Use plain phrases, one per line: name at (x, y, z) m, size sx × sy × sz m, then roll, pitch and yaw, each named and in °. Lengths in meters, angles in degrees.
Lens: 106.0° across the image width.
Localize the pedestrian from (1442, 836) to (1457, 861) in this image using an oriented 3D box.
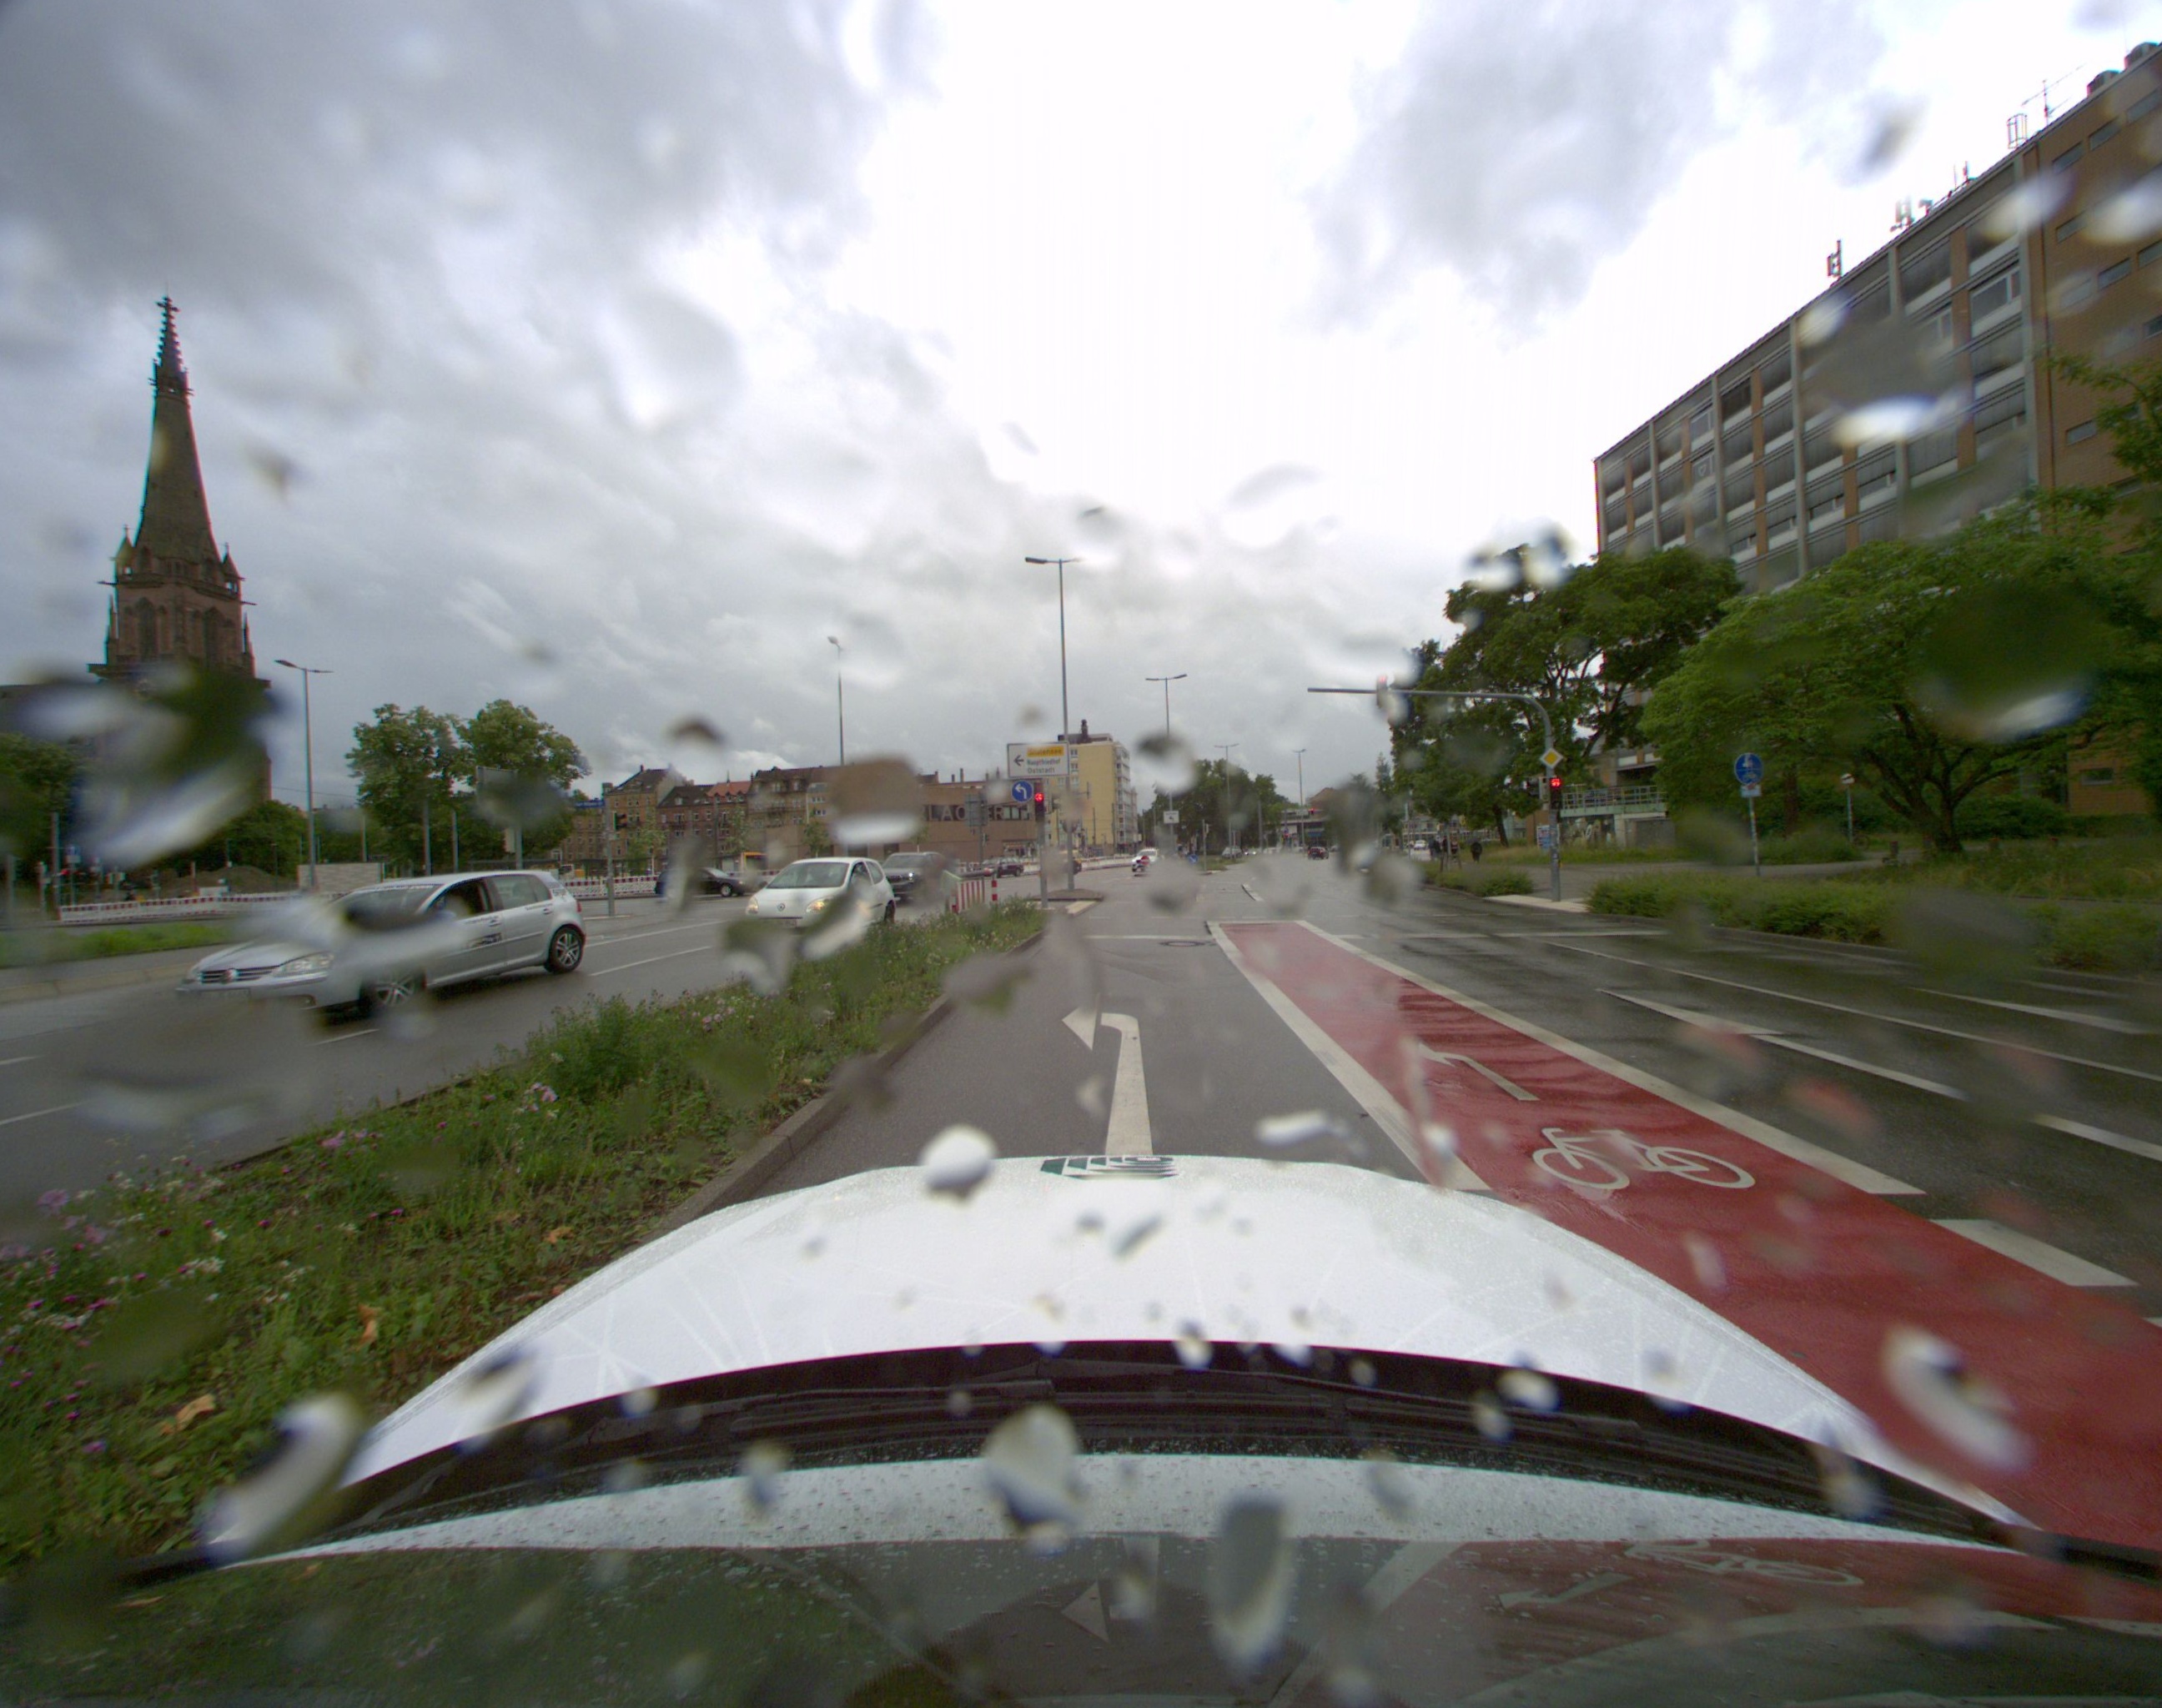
pedestrian at (23.904, -0.386, 52.883) m, size 0.698 × 1.588 × 0.940 m, roll -2°, pitch 0°, yaw 15°

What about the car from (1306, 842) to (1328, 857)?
car at (27.634, -0.532, 95.291) m, size 1.773 × 1.643 × 4.184 m, roll -2°, pitch 0°, yaw 27°

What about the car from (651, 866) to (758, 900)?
car at (-17.701, 1.346, 38.402) m, size 4.180 × 1.402 × 1.617 m, roll -2°, pitch 0°, yaw -2°

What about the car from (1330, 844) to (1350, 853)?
car at (51.190, -1.031, 161.055) m, size 4.422 × 1.643 × 1.774 m, roll -2°, pitch 0°, yaw -43°

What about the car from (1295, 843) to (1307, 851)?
car at (52.257, -1.630, 193.125) m, size 1.773 × 1.643 × 4.185 m, roll -2°, pitch 0°, yaw 29°

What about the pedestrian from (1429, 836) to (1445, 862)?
pedestrian at (22.819, -0.333, 52.264) m, size 0.748 × 1.588 × 0.940 m, roll -2°, pitch 0°, yaw 15°

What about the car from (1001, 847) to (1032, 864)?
car at (-12.231, 0.265, 153.793) m, size 5.321 × 2.887 × 2.344 m, roll -2°, pitch 0°, yaw 7°

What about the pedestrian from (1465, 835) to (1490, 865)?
pedestrian at (21.651, -0.238, 44.439) m, size 1.015 × 1.588 × 0.940 m, roll -2°, pitch 0°, yaw 15°

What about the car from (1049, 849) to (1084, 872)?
car at (-1.179, 0.506, 66.876) m, size 1.692 × 1.706 × 4.170 m, roll -2°, pitch 0°, yaw 16°

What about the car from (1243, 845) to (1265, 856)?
car at (25.546, -0.540, 120.372) m, size 1.755 × 1.376 × 4.147 m, roll -4°, pitch 0°, yaw 31°

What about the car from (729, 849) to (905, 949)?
car at (-4.613, 0.701, 14.849) m, size 1.672 × 1.501 × 3.872 m, roll -3°, pitch 0°, yaw 3°

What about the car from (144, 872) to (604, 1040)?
car at (-7.936, 1.018, 9.806) m, size 1.672 × 1.404 × 4.162 m, roll -3°, pitch 0°, yaw 3°

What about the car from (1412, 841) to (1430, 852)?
car at (54.574, -1.262, 130.704) m, size 1.772 × 1.643 × 4.186 m, roll -2°, pitch 0°, yaw 35°

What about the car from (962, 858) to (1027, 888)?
car at (-5.665, 1.236, 53.901) m, size 1.689 × 1.706 × 4.489 m, roll -2°, pitch 0°, yaw 34°

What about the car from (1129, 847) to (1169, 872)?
car at (5.473, 0.425, 64.647) m, size 1.811 × 1.682 × 5.191 m, roll -4°, pitch 0°, yaw 19°

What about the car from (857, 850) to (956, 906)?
car at (-5.829, 0.738, 27.867) m, size 1.984 × 1.636 × 4.608 m, roll -4°, pitch 0°, yaw 4°

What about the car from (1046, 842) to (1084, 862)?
car at (-3.007, -0.406, 152.400) m, size 6.704 × 3.380 × 2.815 m, roll -2°, pitch 0°, yaw 7°

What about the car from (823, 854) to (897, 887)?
car at (-12.754, 0.945, 47.045) m, size 3.830 × 1.706 × 1.695 m, roll -2°, pitch 0°, yaw -29°

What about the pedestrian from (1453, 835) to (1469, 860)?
pedestrian at (24.686, -0.420, 52.916) m, size 0.698 × 1.588 × 0.940 m, roll -2°, pitch 0°, yaw 15°

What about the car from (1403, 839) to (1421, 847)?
car at (68.955, -2.300, 169.660) m, size 4.068 × 1.643 × 1.774 m, roll -2°, pitch 0°, yaw -41°

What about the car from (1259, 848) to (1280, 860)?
car at (26.547, -0.028, 114.403) m, size 1.678 × 1.415 × 4.209 m, roll -2°, pitch 0°, yaw 29°

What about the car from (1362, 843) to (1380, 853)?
car at (57.776, -1.130, 162.288) m, size 4.183 × 1.858 × 1.774 m, roll -2°, pitch 0°, yaw -44°

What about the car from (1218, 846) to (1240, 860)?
car at (20.100, -0.142, 110.415) m, size 1.678 × 1.690 × 4.210 m, roll -3°, pitch 2°, yaw 28°
